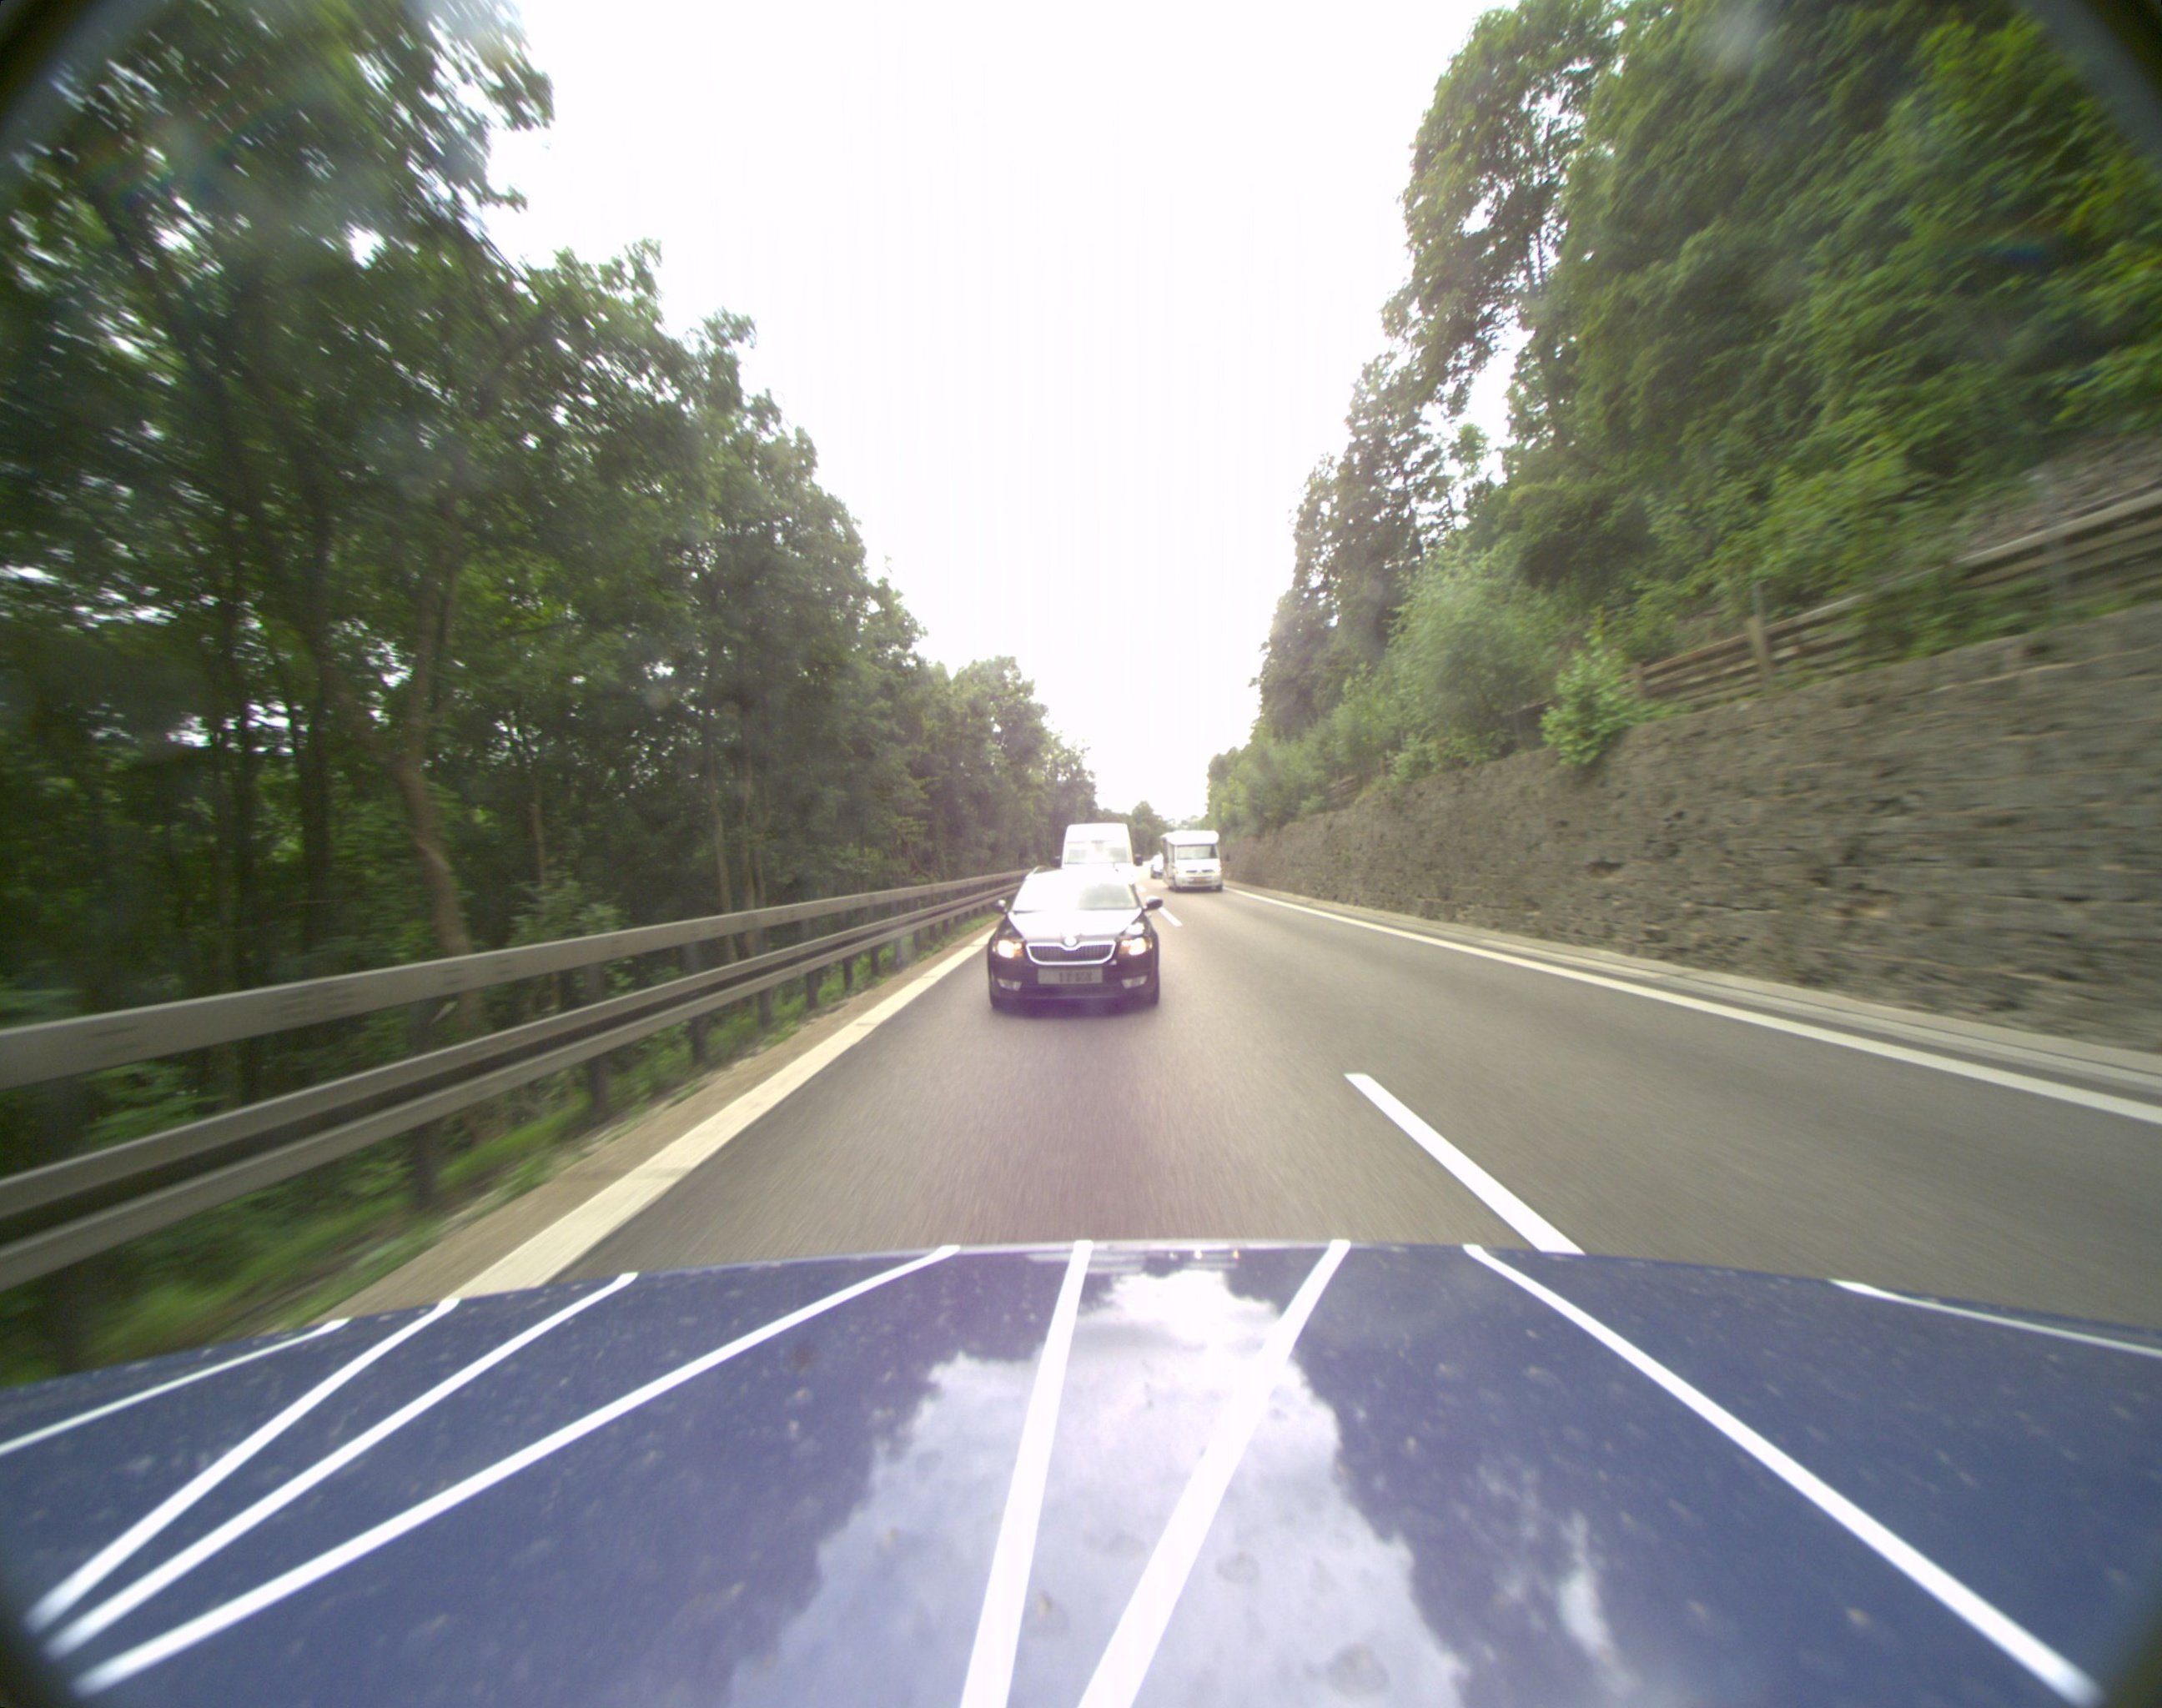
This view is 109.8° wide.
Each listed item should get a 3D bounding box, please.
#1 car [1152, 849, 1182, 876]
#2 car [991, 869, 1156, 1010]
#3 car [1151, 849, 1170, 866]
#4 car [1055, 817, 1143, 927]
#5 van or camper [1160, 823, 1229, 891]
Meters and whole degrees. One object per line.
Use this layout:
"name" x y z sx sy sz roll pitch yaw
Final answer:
"car" 5.940 0.553 52.843 1.808 1.772 4.001 -2 0 3
"car" -0.037 0.981 10.504 1.751 1.409 4.401 -2 0 1
"car" 9.850 0.404 94.281 1.998 2.002 4.001 -2 0 3
"car" 0.482 0.425 20.669 2.001 2.545 5.127 -2 0 1
"van or camper" 5.010 0.124 34.483 2.270 2.719 7.025 -2 0 2
